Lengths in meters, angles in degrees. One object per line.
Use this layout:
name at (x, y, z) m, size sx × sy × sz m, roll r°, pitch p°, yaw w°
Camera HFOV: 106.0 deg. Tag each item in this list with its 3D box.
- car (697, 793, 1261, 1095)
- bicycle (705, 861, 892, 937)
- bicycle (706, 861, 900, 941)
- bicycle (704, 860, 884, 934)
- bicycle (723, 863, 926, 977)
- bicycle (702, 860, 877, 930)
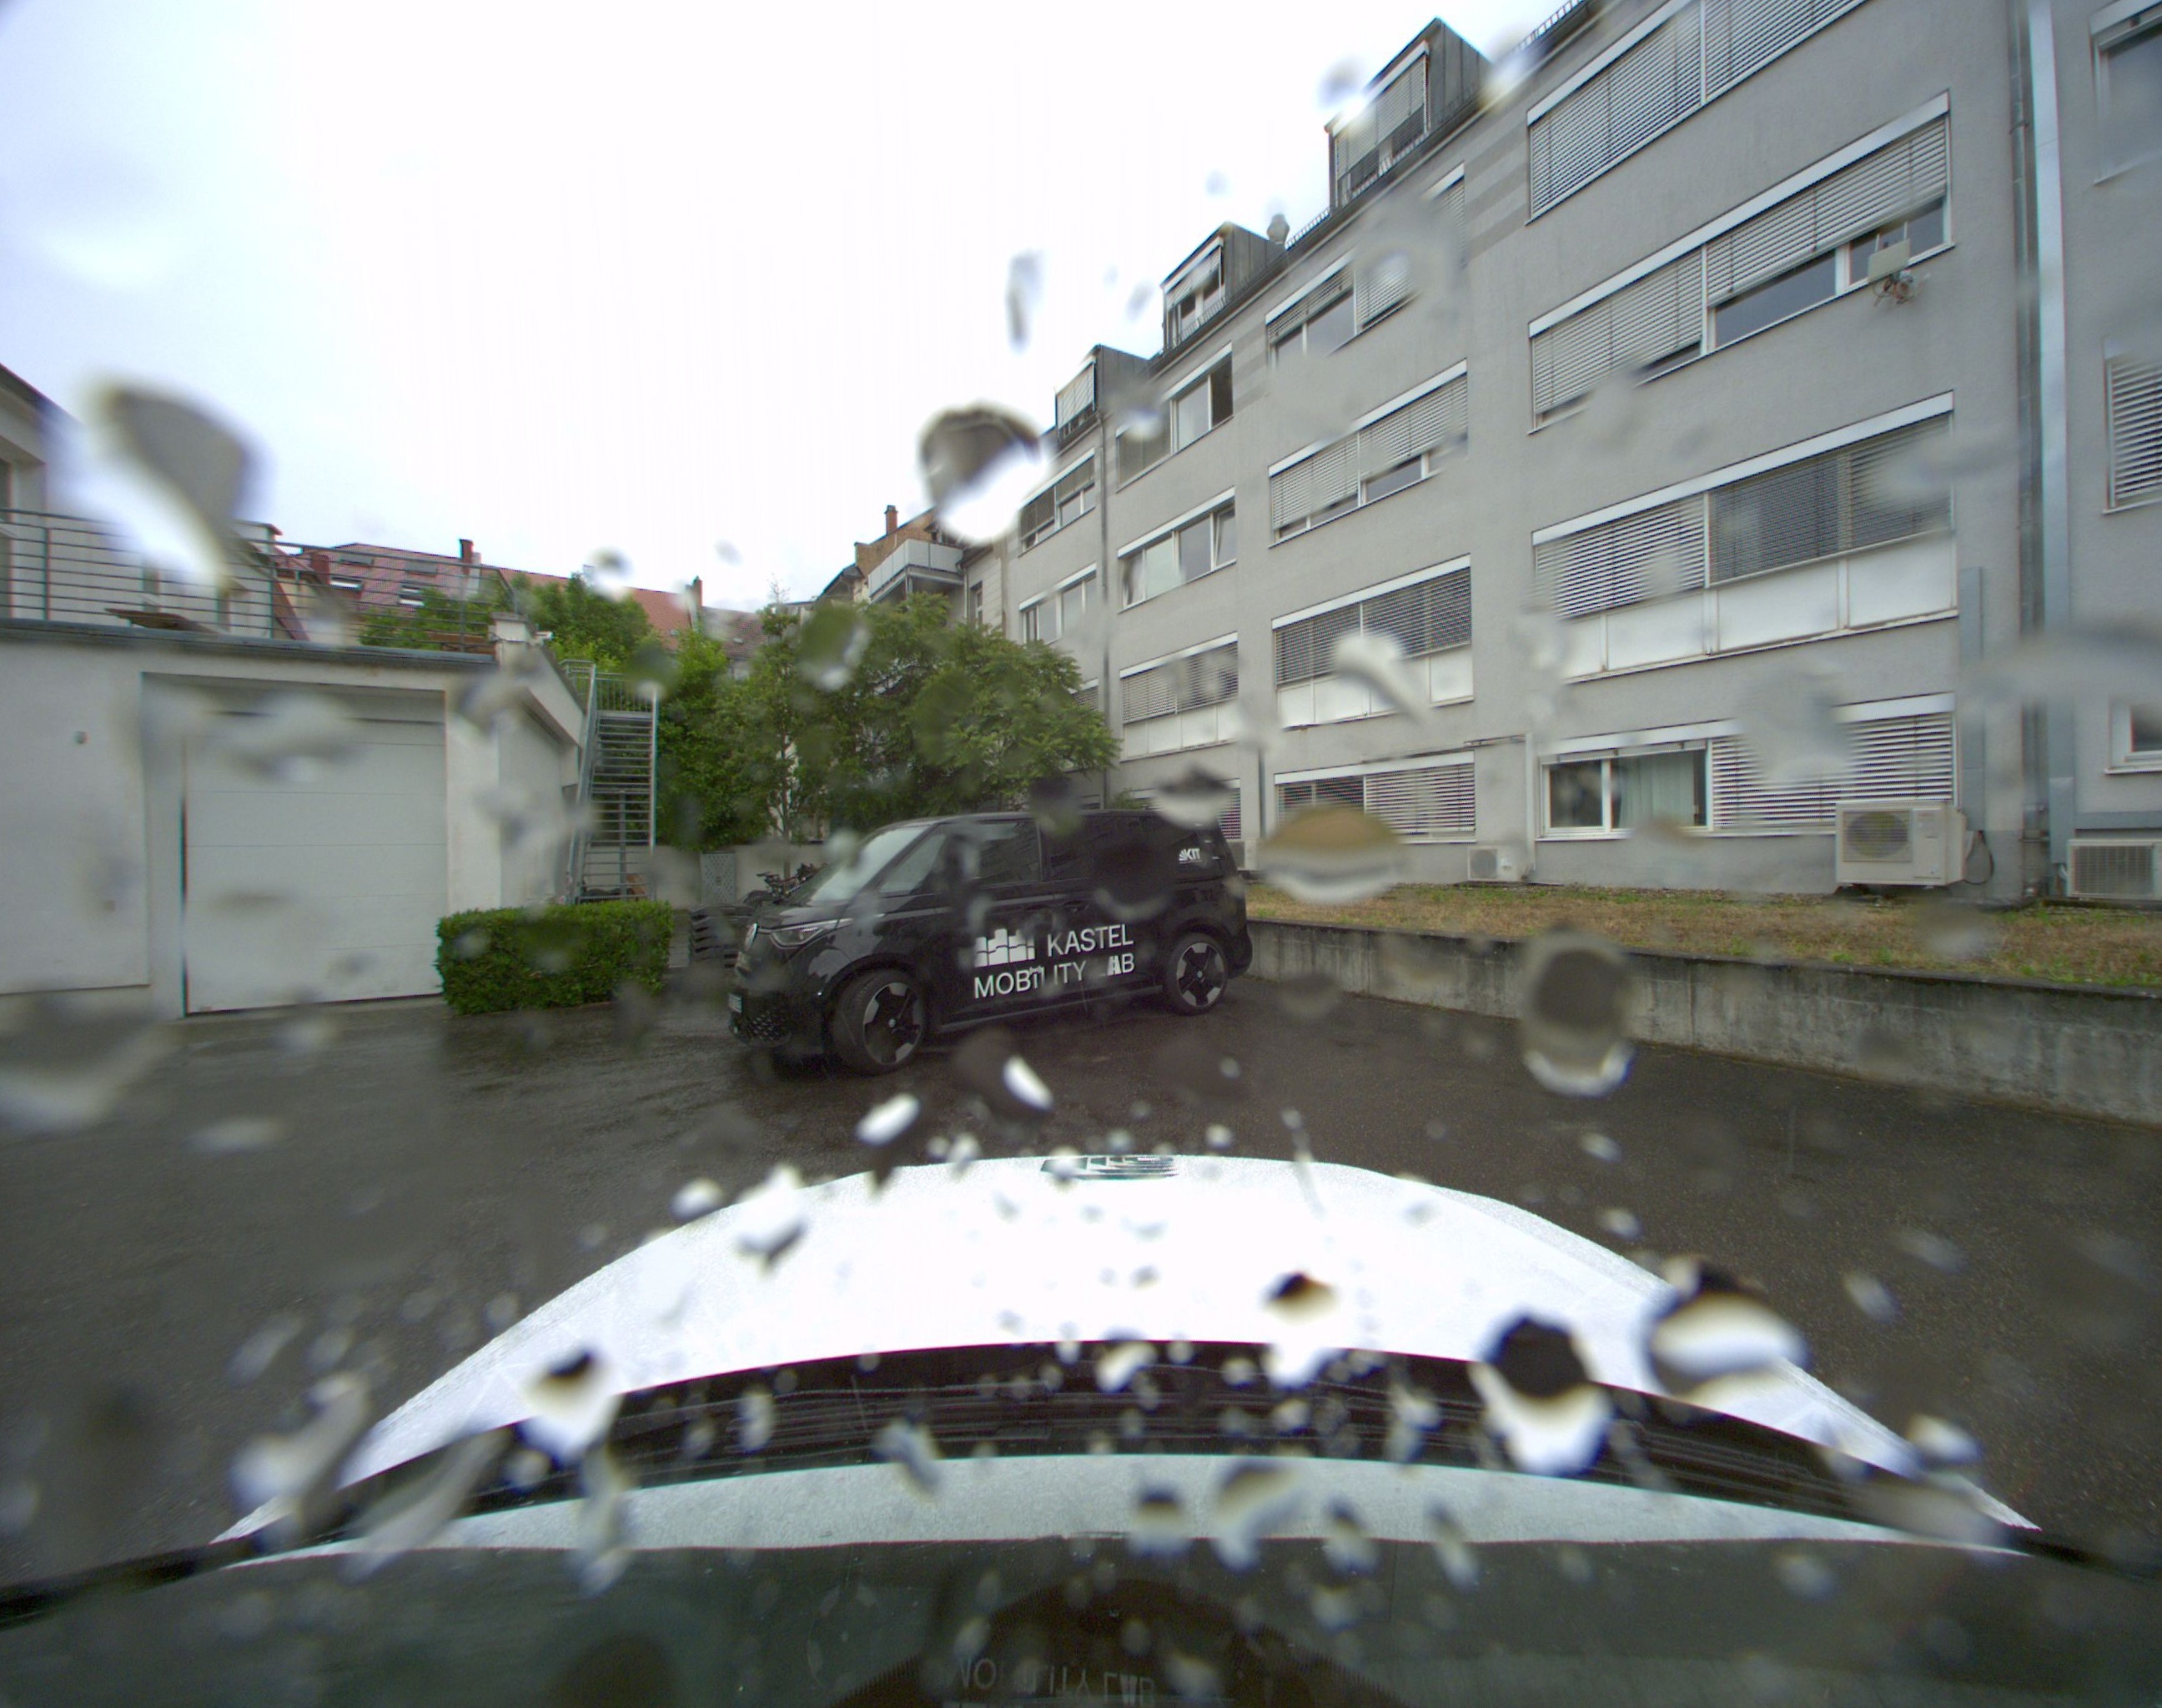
car at (-0.749, 0.531, 7.262) m, size 4.542 × 1.897 × 2.024 m, roll -2°, pitch 0°, yaw -35°
bicycle at (-5.237, 0.796, 15.271) m, size 3.234 × 1.242 × 0.625 m, roll -2°, pitch -1°, yaw -30°
bicycle at (-4.935, 0.801, 14.646) m, size 3.234 × 1.242 × 0.625 m, roll -2°, pitch -1°, yaw -30°
bicycle at (-5.534, 0.792, 15.868) m, size 3.234 × 1.242 × 0.625 m, roll -2°, pitch -1°, yaw -30°
bicycle at (-4.330, 1.053, 13.955) m, size 3.234 × 1.703 × 0.625 m, roll -2°, pitch -1°, yaw -30°
bicycle at (-5.828, 0.788, 16.445) m, size 3.234 × 1.242 × 0.625 m, roll -2°, pitch -1°, yaw -30°
